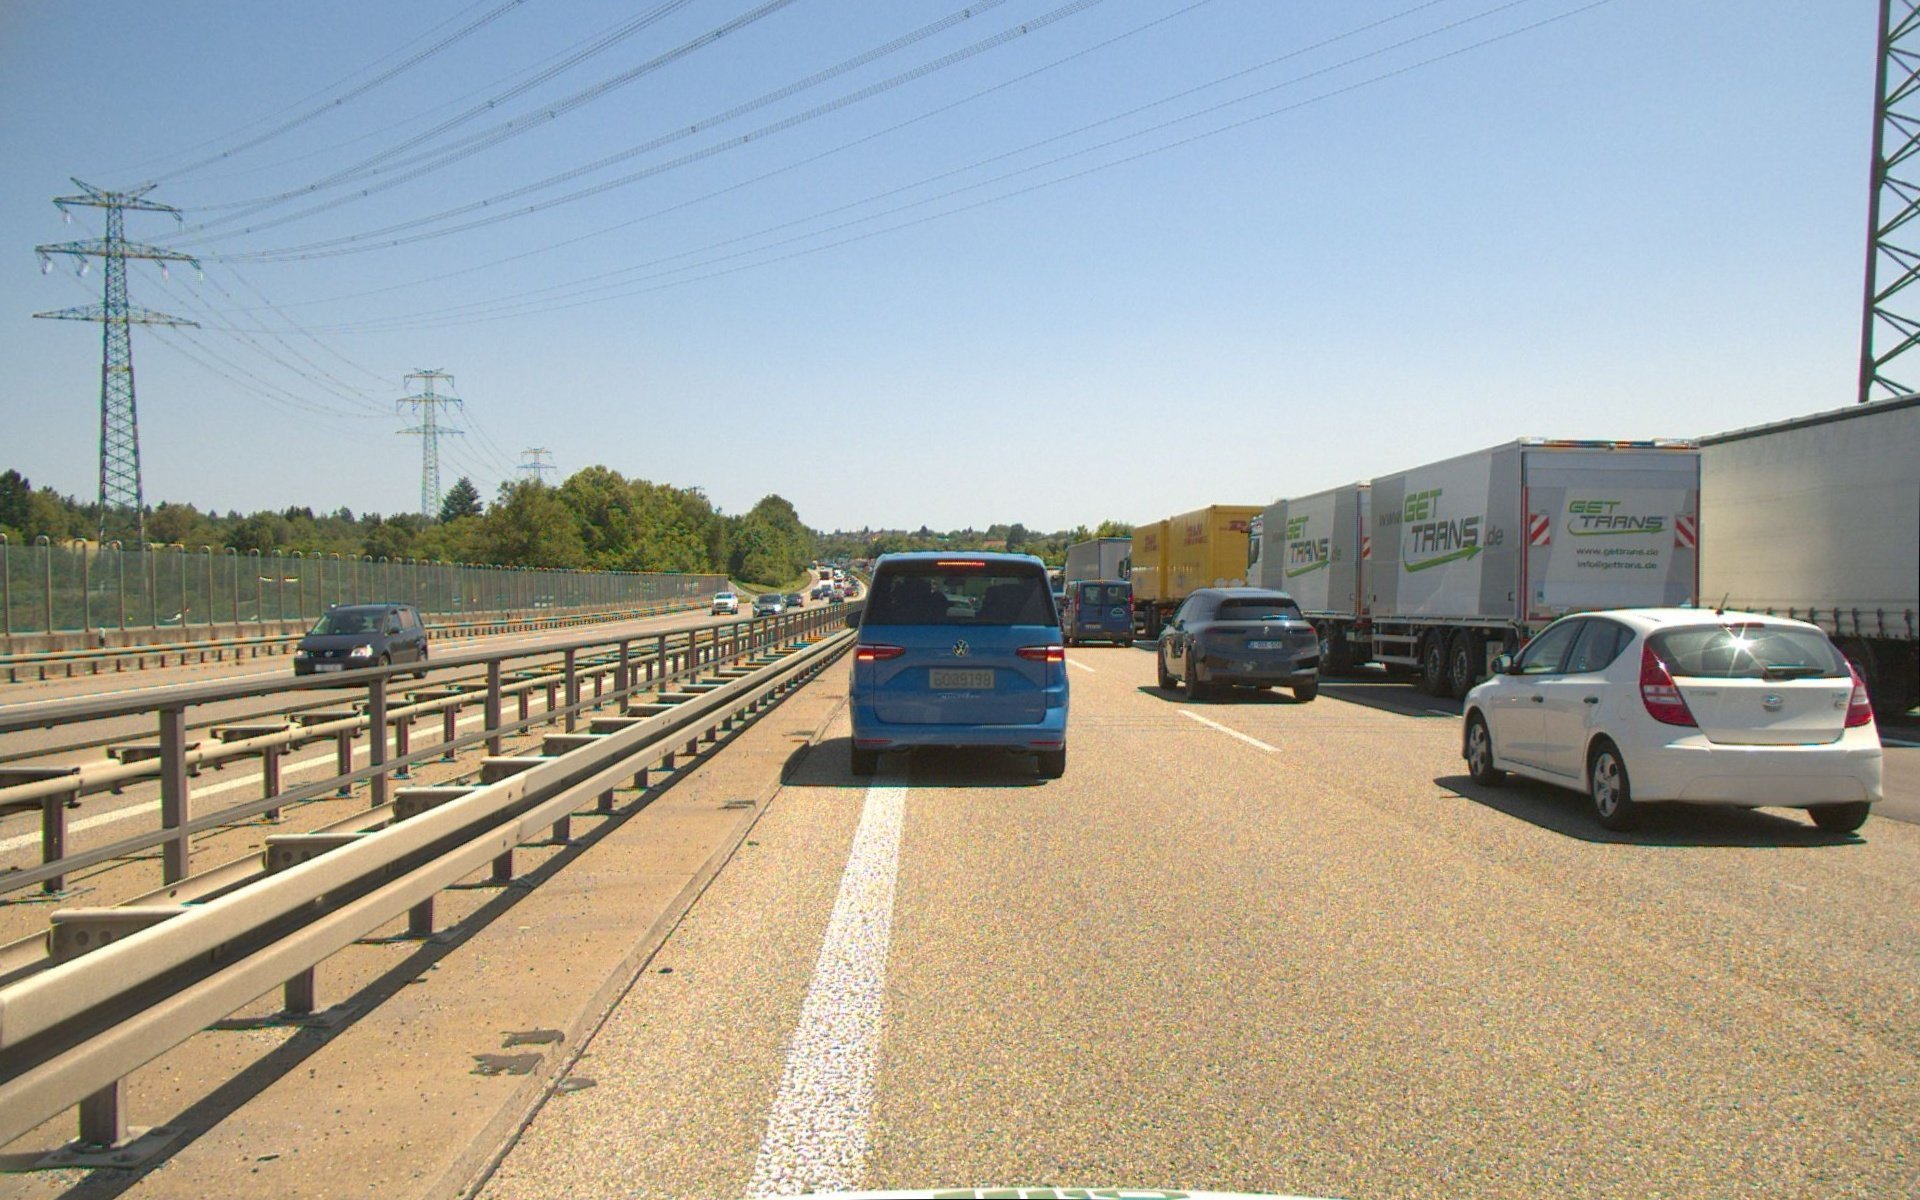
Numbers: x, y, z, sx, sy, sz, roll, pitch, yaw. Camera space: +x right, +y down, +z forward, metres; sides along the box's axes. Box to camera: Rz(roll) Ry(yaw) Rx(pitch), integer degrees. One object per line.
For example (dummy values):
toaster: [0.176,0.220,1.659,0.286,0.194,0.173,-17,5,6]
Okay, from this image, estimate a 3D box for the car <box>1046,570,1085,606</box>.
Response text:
car: [6.257,-0.703,98.448,1.953,2.049,3.999,1,0,-1]

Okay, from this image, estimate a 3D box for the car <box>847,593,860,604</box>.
car: [-15.771,-0.183,244.436,1.755,1.504,3.988,-1,0,-1]

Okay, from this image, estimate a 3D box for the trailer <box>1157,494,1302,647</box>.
trailer: [8.229,-0.821,51.722,2.807,4.313,9.008,1,0,-1]

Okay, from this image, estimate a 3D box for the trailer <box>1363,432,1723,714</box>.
trailer: [8.767,-0.372,26.091,2.643,3.765,8.012,0,0,-2]

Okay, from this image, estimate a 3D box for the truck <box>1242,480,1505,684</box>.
truck: [8.464,-0.346,35.586,2.603,3.711,11.006,0,0,-2]

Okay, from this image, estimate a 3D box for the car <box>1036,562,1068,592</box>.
car: [6.441,-1.578,116.295,1.953,2.049,4.460,0,0,-1]

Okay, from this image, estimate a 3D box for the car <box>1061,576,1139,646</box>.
car: [4.238,0.316,50.609,1.922,2.028,4.292,0,0,-1]

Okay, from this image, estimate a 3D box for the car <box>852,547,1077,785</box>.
car: [0.000,0.534,15.378,1.783,1.890,4.073,1,0,-1]

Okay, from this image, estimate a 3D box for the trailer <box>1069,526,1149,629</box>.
trailer: [7.114,-1.045,80.522,2.583,4.595,11.298,1,0,-1]

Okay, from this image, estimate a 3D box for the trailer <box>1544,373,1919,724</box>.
trailer: [12.695,-0.605,24.987,2.660,4.214,13.421,1,0,-1]

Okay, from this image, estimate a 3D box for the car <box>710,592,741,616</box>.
car: [-19.523,0.346,137.861,1.953,1.918,5.254,2,0,-2]

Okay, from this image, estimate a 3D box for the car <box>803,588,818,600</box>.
car: [-20.092,-0.866,221.750,1.695,1.517,4.418,-2,0,-2]

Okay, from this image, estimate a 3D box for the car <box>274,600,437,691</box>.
car: [-12.595,0.899,34.741,1.954,1.701,4.184,-2,0,-2]

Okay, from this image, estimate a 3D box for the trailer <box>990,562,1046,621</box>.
trailer: [3.169,-0.436,92.297,2.517,3.042,10.660,1,0,-1]

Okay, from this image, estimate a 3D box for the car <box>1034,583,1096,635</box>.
car: [3.823,0.307,60.844,1.953,1.847,3.999,0,0,-1]

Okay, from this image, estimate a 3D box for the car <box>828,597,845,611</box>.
car: [-13.461,0.431,180.170,1.565,1.341,4.340,-2,0,-2]

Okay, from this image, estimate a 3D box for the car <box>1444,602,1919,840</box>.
car: [5.223,0.766,12.576,1.752,1.481,4.292,0,0,-1]

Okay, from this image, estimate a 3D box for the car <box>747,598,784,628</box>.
car: [-11.409,0.743,97.279,1.769,1.655,4.476,-2,0,-2]

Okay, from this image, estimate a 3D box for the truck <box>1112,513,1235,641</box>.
truck: [7.773,-0.772,61.785,2.779,4.317,11.006,1,0,-2]

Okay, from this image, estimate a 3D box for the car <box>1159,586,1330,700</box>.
car: [4.450,0.626,26.514,1.922,1.673,4.292,0,0,-1]

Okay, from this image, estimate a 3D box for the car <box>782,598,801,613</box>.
car: [-16.933,0.566,166.150,1.565,1.373,4.178,-2,0,-1]
